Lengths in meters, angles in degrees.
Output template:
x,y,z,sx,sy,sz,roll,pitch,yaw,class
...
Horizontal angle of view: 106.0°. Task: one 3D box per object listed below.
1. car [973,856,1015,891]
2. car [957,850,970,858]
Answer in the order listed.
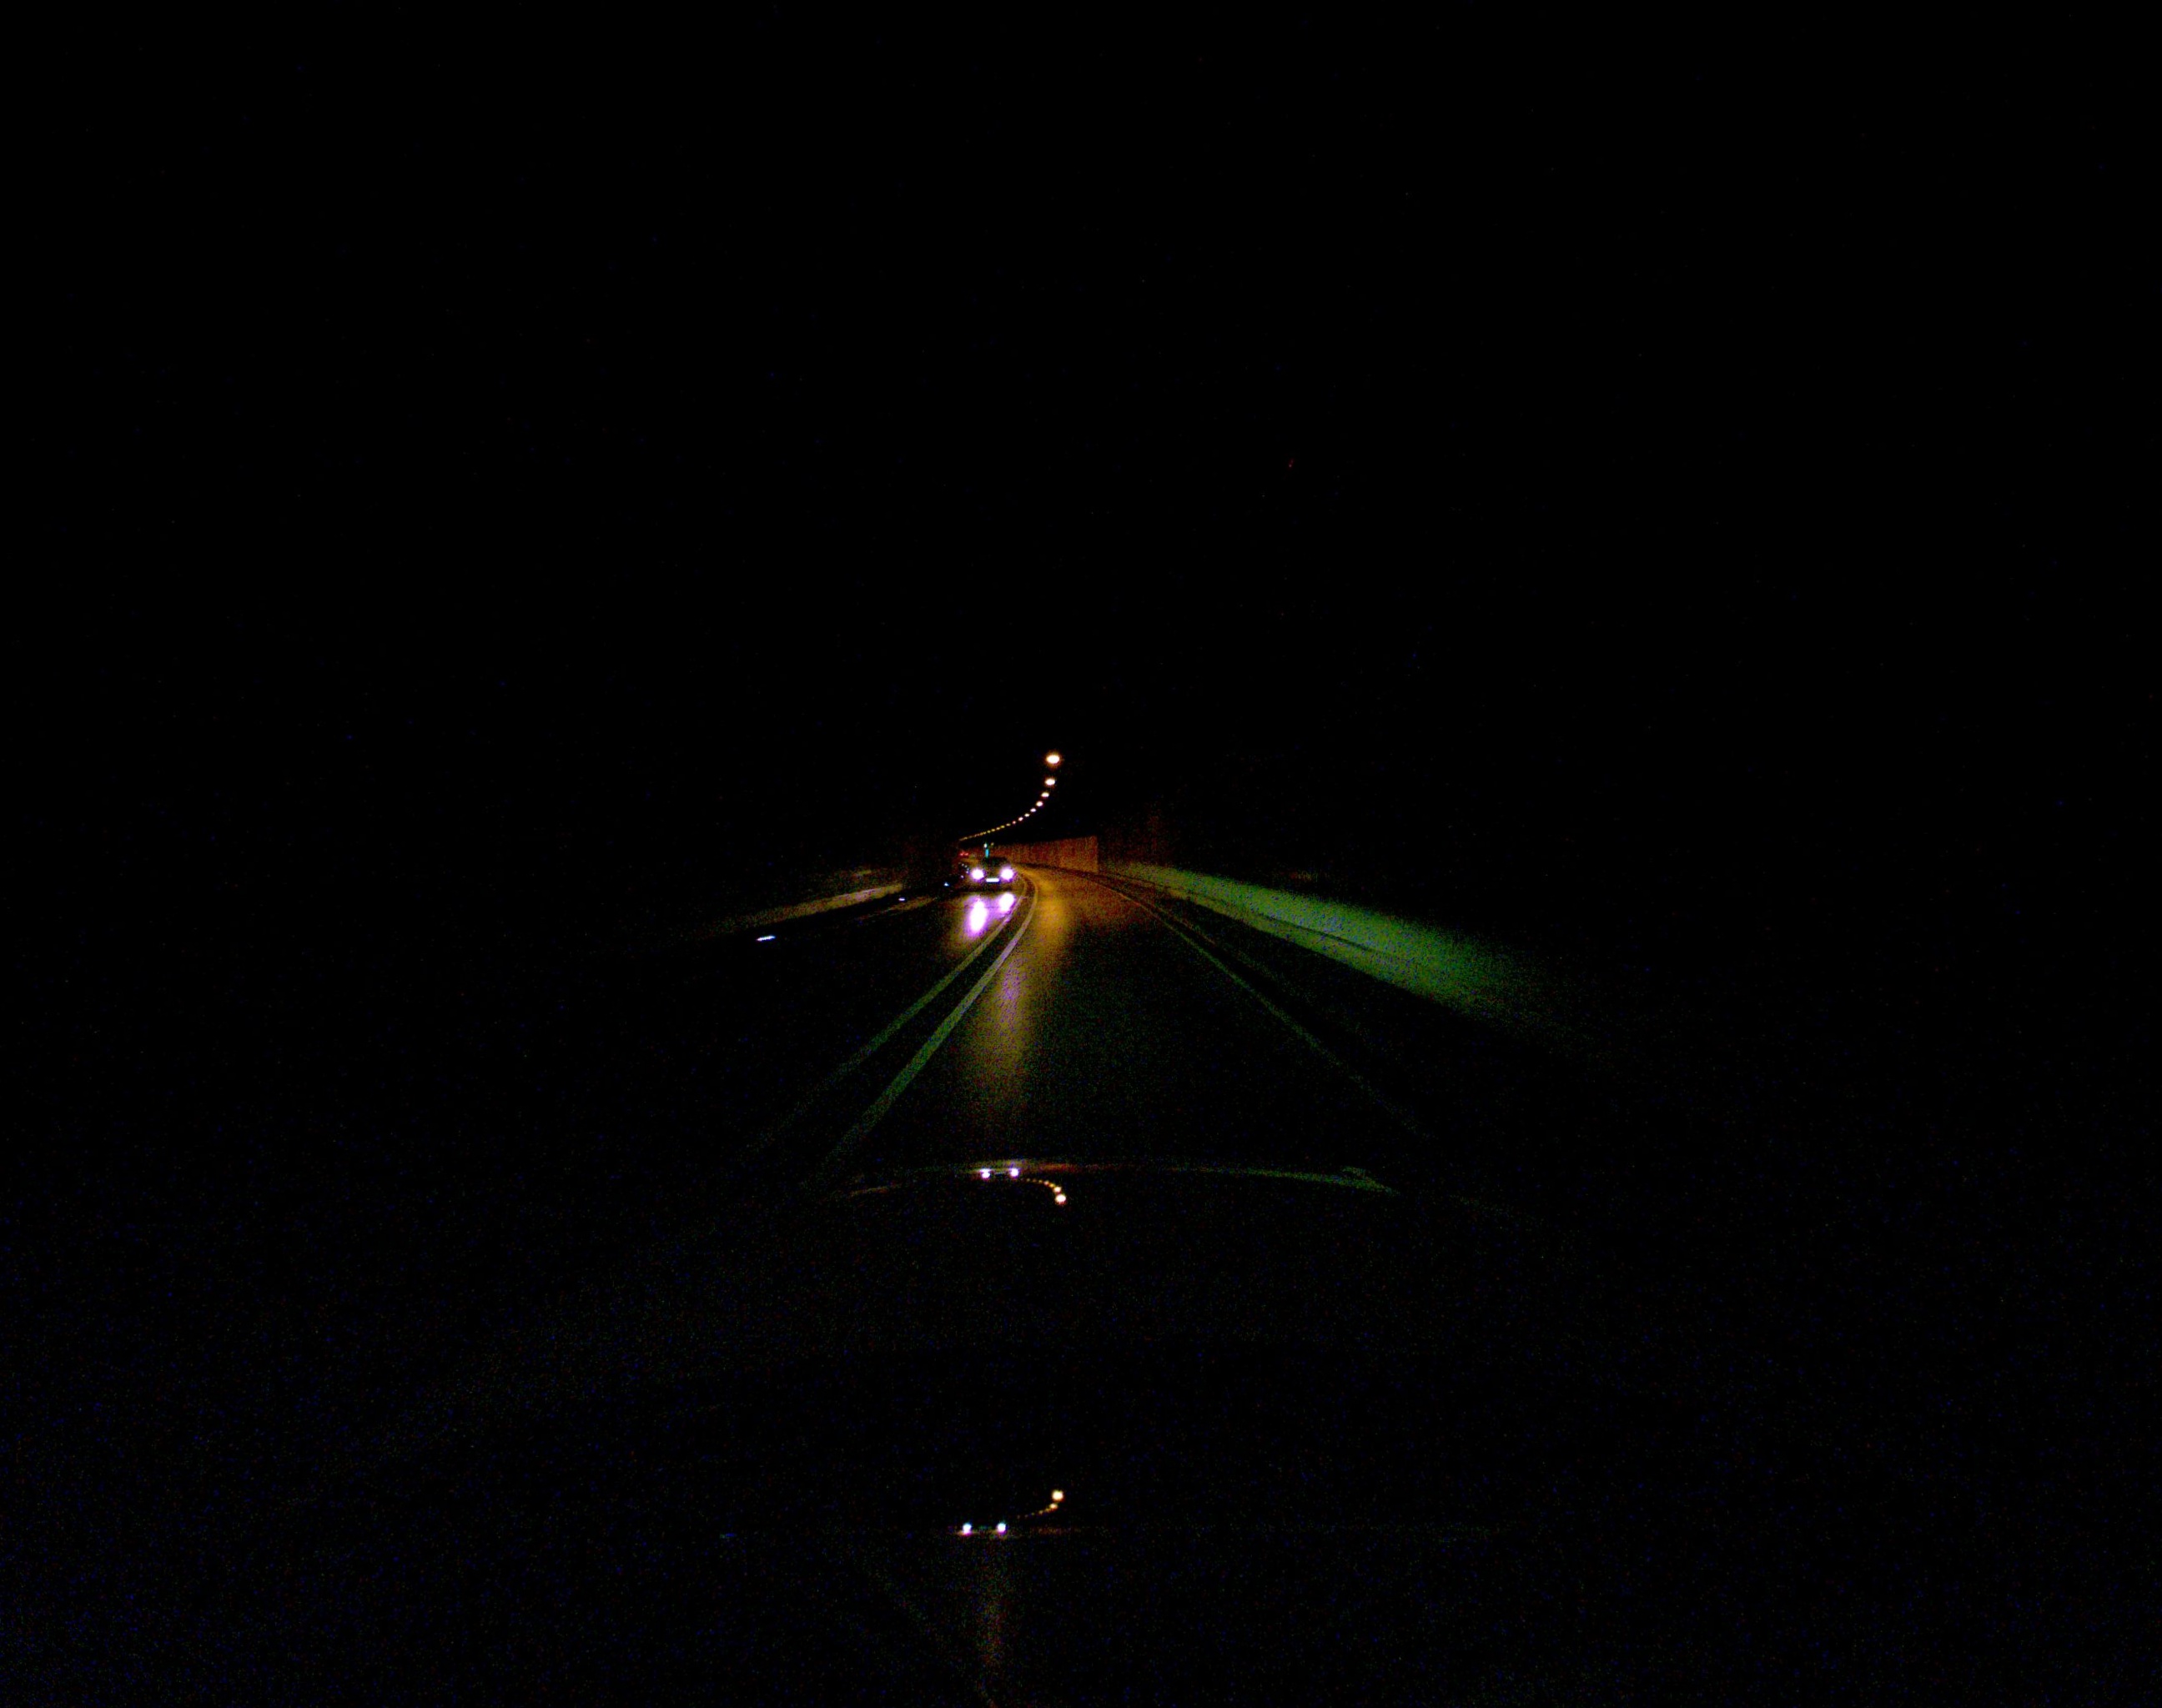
x,y,z,sx,sy,sz,roll,pitch,yaw,class
-3.824,0.830,36.421,1.713,1.443,4.387,0,0,-4,car
-28.948,0.064,200.532,1.976,1.939,4.574,-1,-1,-25,car
